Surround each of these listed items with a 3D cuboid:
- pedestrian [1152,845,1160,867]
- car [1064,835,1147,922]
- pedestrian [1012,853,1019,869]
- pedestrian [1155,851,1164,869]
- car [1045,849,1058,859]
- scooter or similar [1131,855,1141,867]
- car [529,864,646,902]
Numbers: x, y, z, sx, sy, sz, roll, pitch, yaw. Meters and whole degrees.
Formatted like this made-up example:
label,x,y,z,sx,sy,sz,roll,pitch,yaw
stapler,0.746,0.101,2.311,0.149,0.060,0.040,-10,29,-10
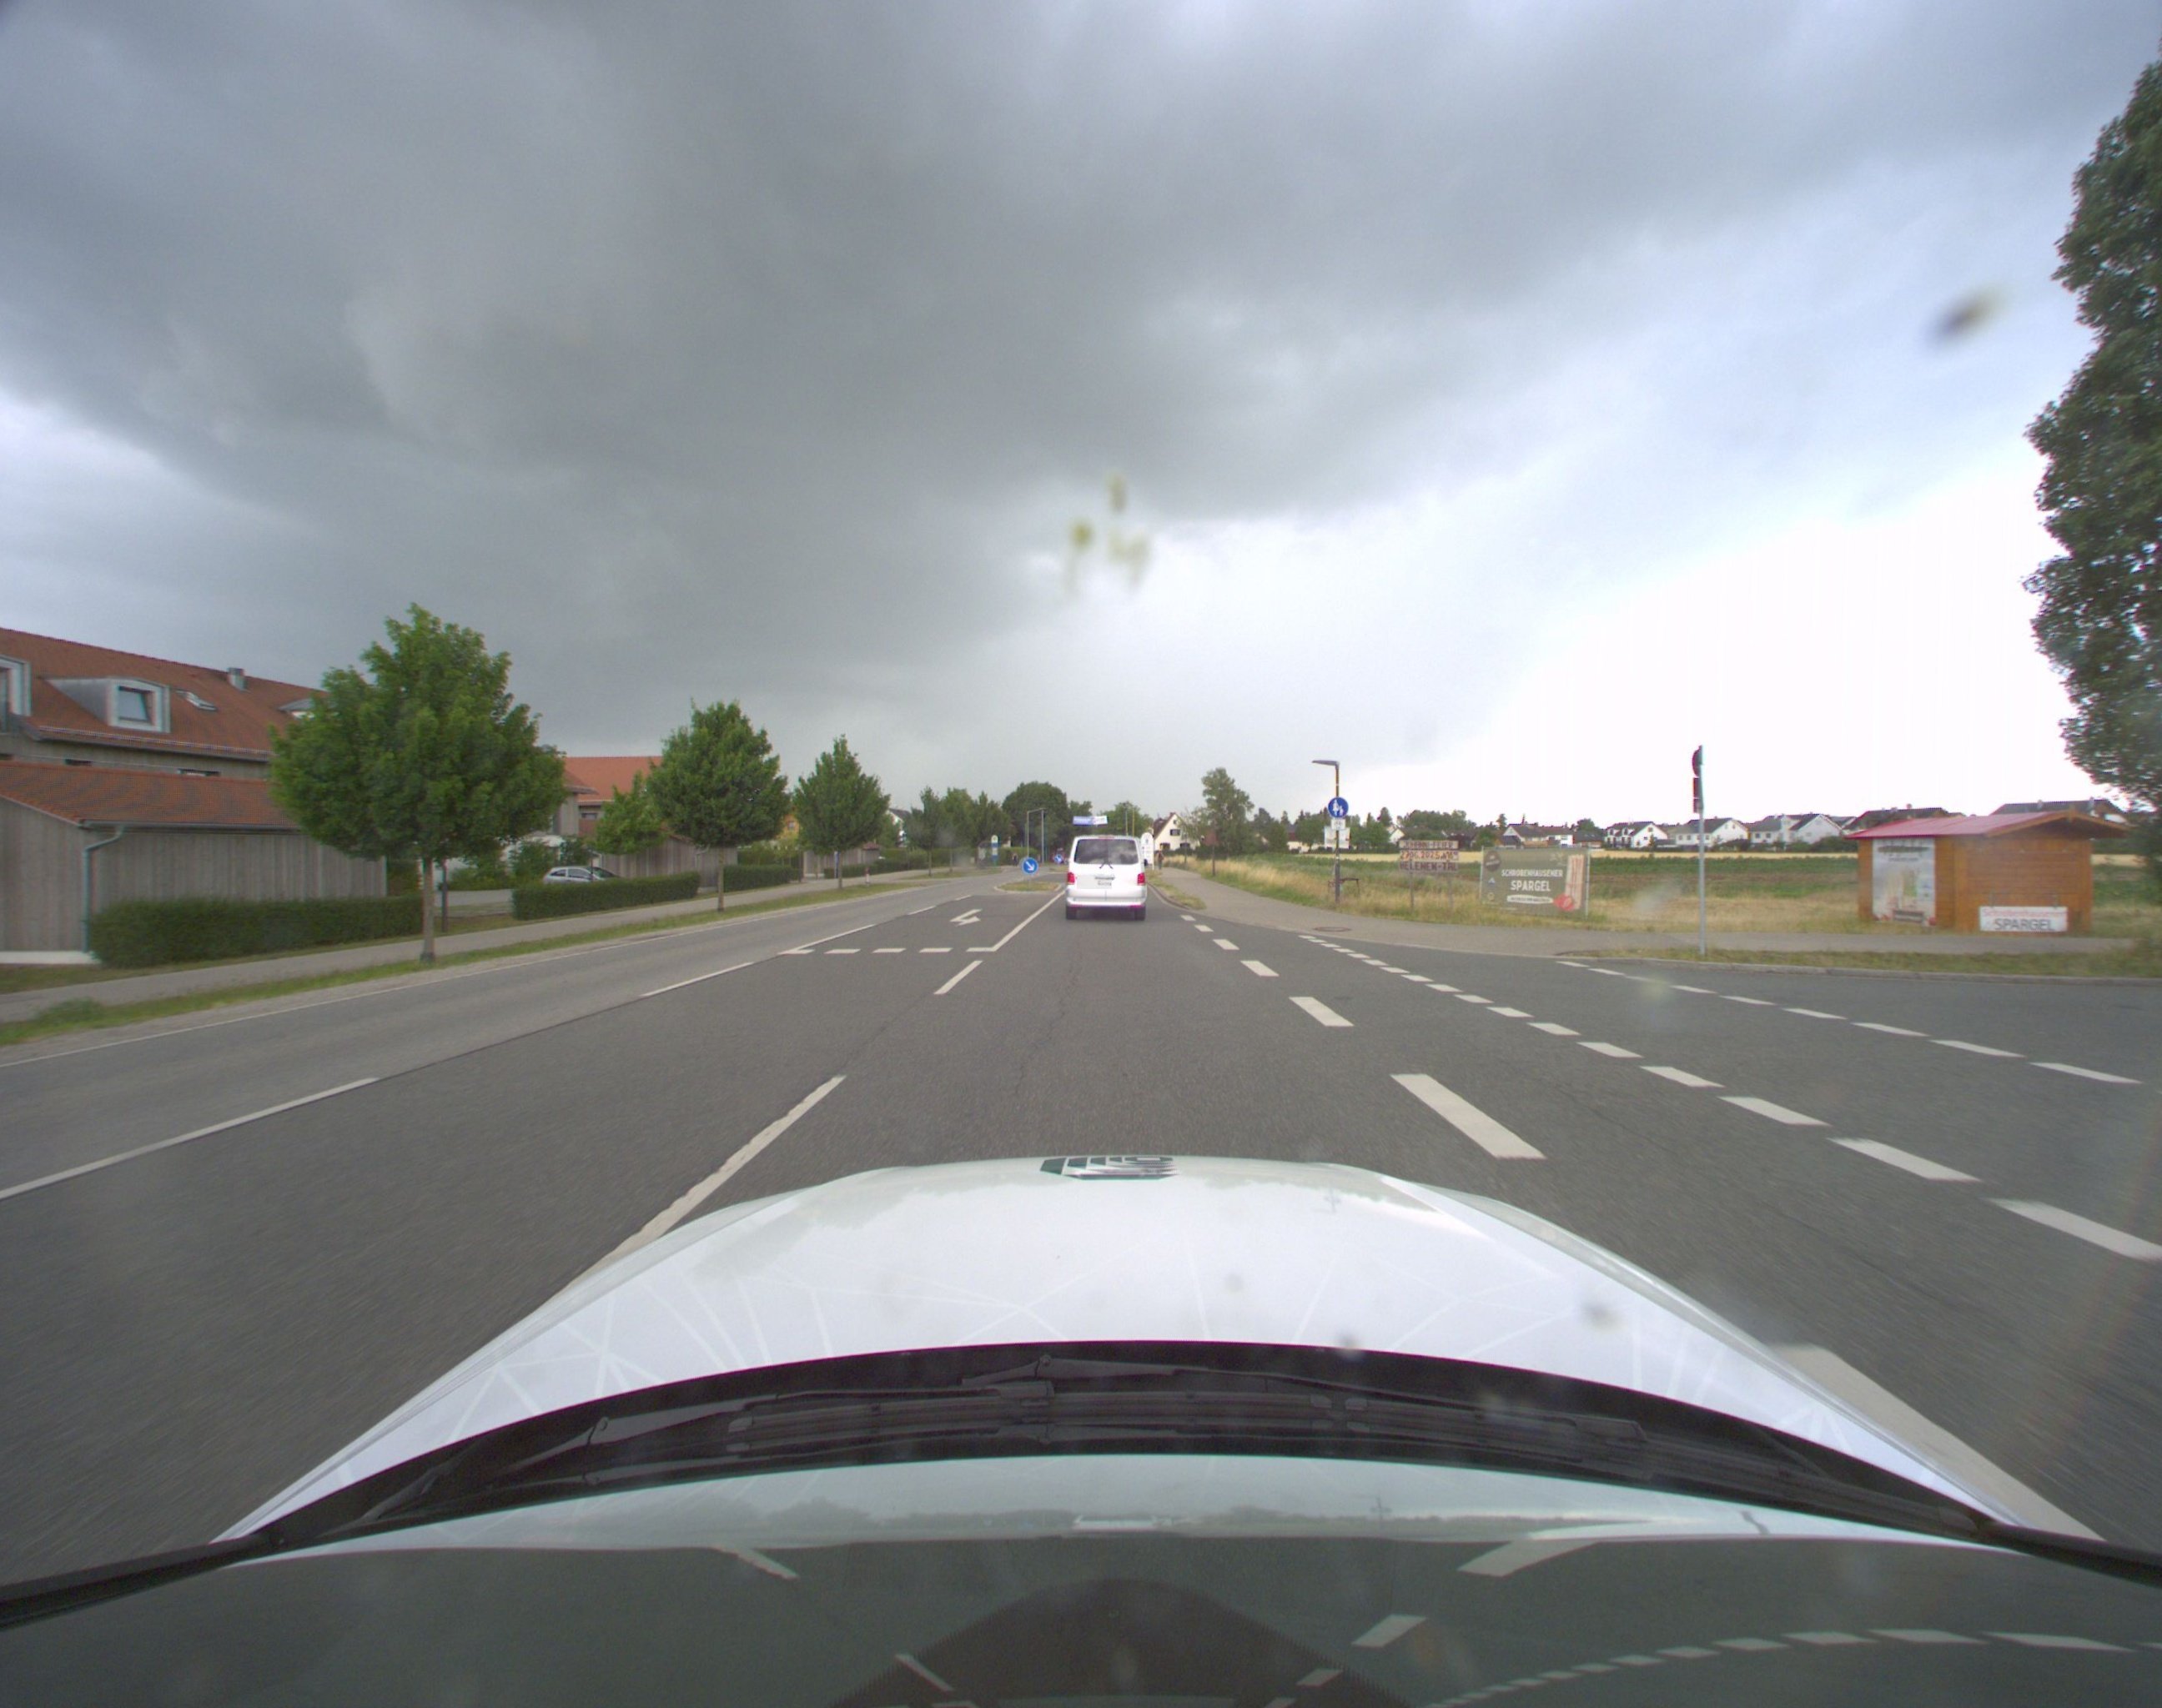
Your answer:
label,x,y,z,sx,sy,sz,roll,pitch,yaw
pedestrian,5.867,0.162,63.519,0.484,1.732,0.641,-2,0,-5
car,0.556,0.530,20.002,1.819,1.913,4.000,0,0,0
pedestrian,-6.679,0.719,83.211,0.621,1.525,0.680,-2,0,1
pedestrian,6.732,0.483,69.879,0.621,1.525,0.680,-2,0,1
car,-4.349,-0.047,120.659,1.647,1.429,3.603,-2,0,1
scooter or similar,5.304,0.660,78.413,0.845,1.103,1.095,-2,0,2
car,-21.885,1.254,36.222,3.970,1.556,2.002,1,0,3
